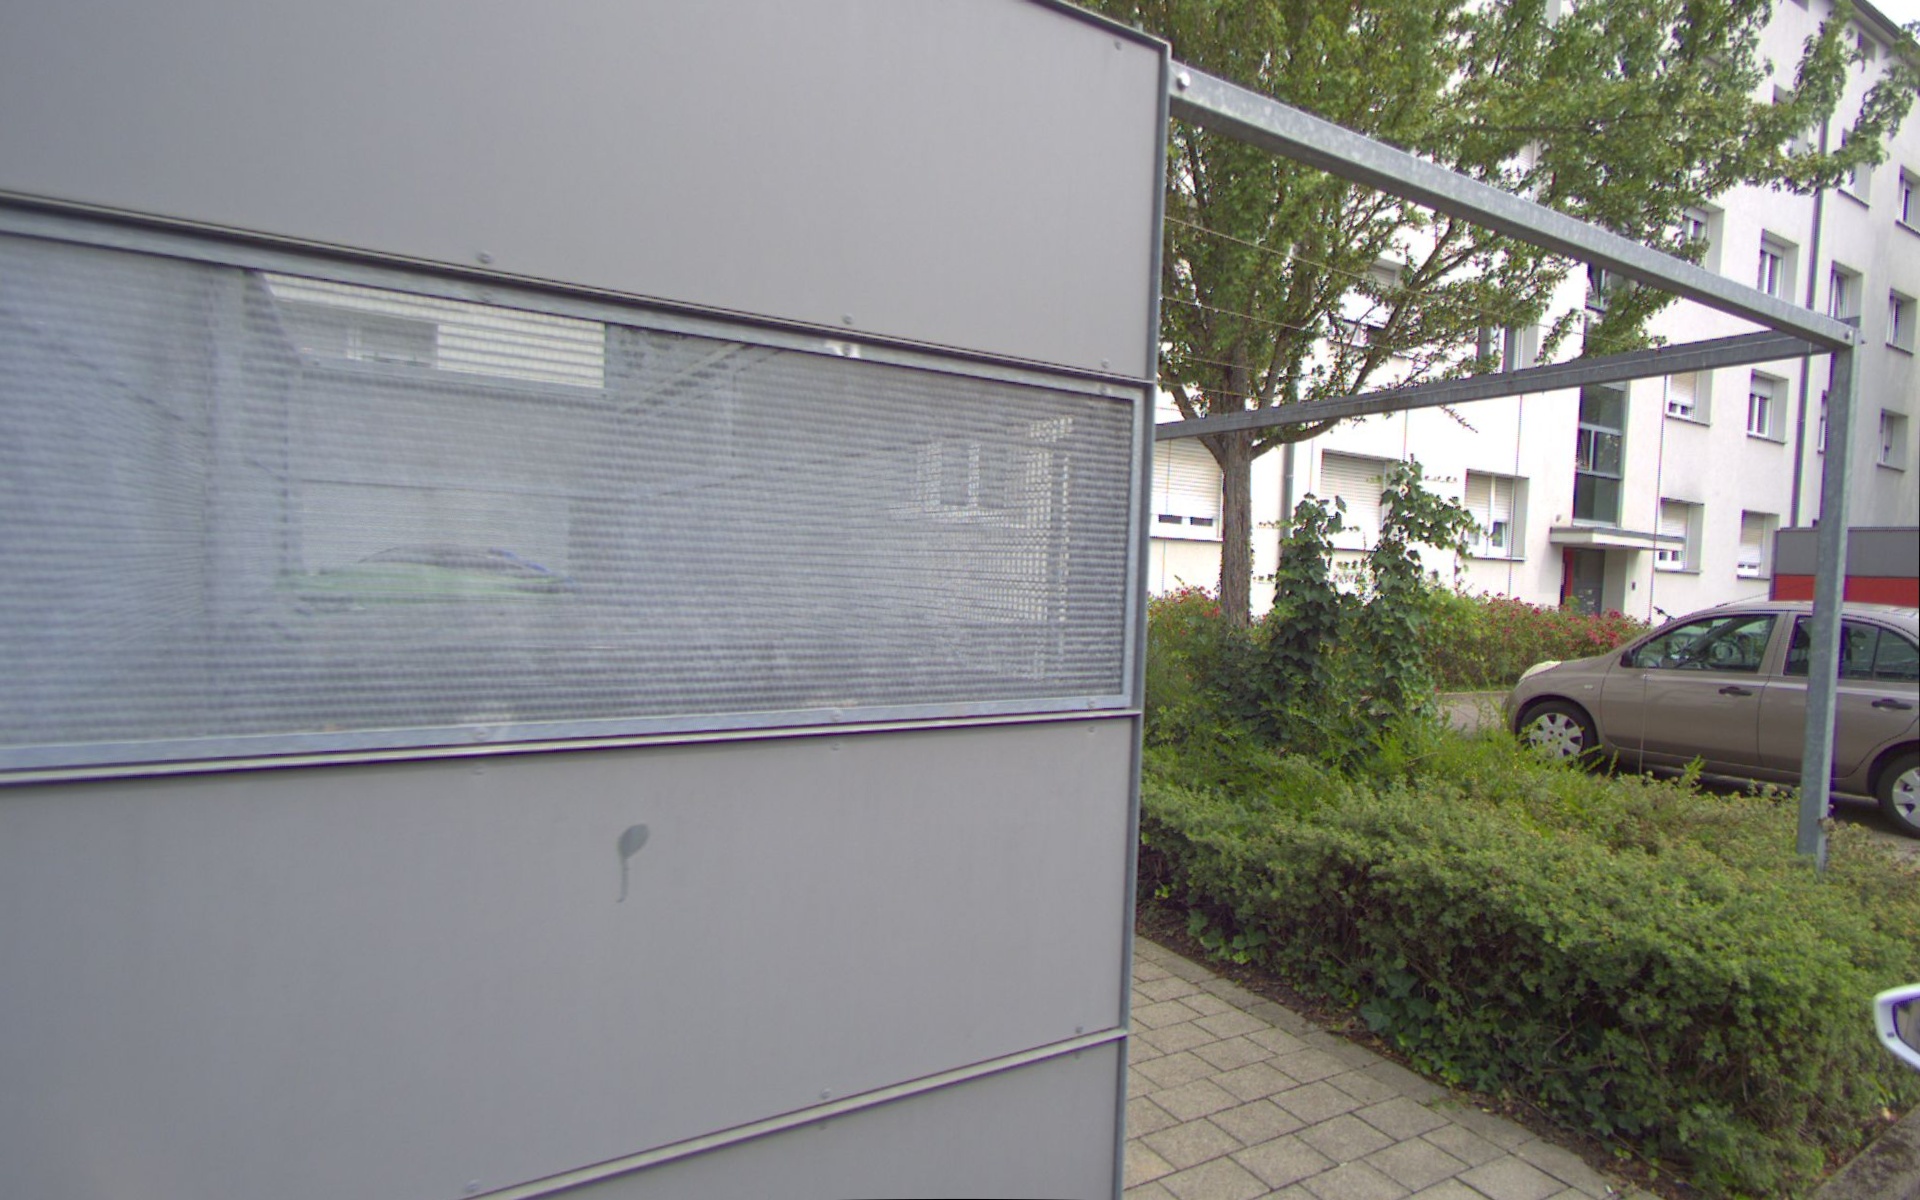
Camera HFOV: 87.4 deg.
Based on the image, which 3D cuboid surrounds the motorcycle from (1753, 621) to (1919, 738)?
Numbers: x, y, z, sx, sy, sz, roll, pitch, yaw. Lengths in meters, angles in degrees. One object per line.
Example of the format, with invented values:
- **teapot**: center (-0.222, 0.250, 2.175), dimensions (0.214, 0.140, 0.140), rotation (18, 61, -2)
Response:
- **motorcycle**: center (10.513, 0.901, 11.508), dimensions (0.628, 1.152, 2.130), rotation (-2, 4, -30)

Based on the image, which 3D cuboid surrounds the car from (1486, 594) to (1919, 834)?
- **car**: center (6.408, 0.768, 7.993), dimensions (1.693, 1.500, 3.539), rotation (1, 1, -34)

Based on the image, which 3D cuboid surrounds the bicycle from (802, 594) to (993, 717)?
- **bicycle**: center (-0.615, 0.506, 9.766), dimensions (1.775, 1.038, 0.479), rotation (3, 2, 19)
